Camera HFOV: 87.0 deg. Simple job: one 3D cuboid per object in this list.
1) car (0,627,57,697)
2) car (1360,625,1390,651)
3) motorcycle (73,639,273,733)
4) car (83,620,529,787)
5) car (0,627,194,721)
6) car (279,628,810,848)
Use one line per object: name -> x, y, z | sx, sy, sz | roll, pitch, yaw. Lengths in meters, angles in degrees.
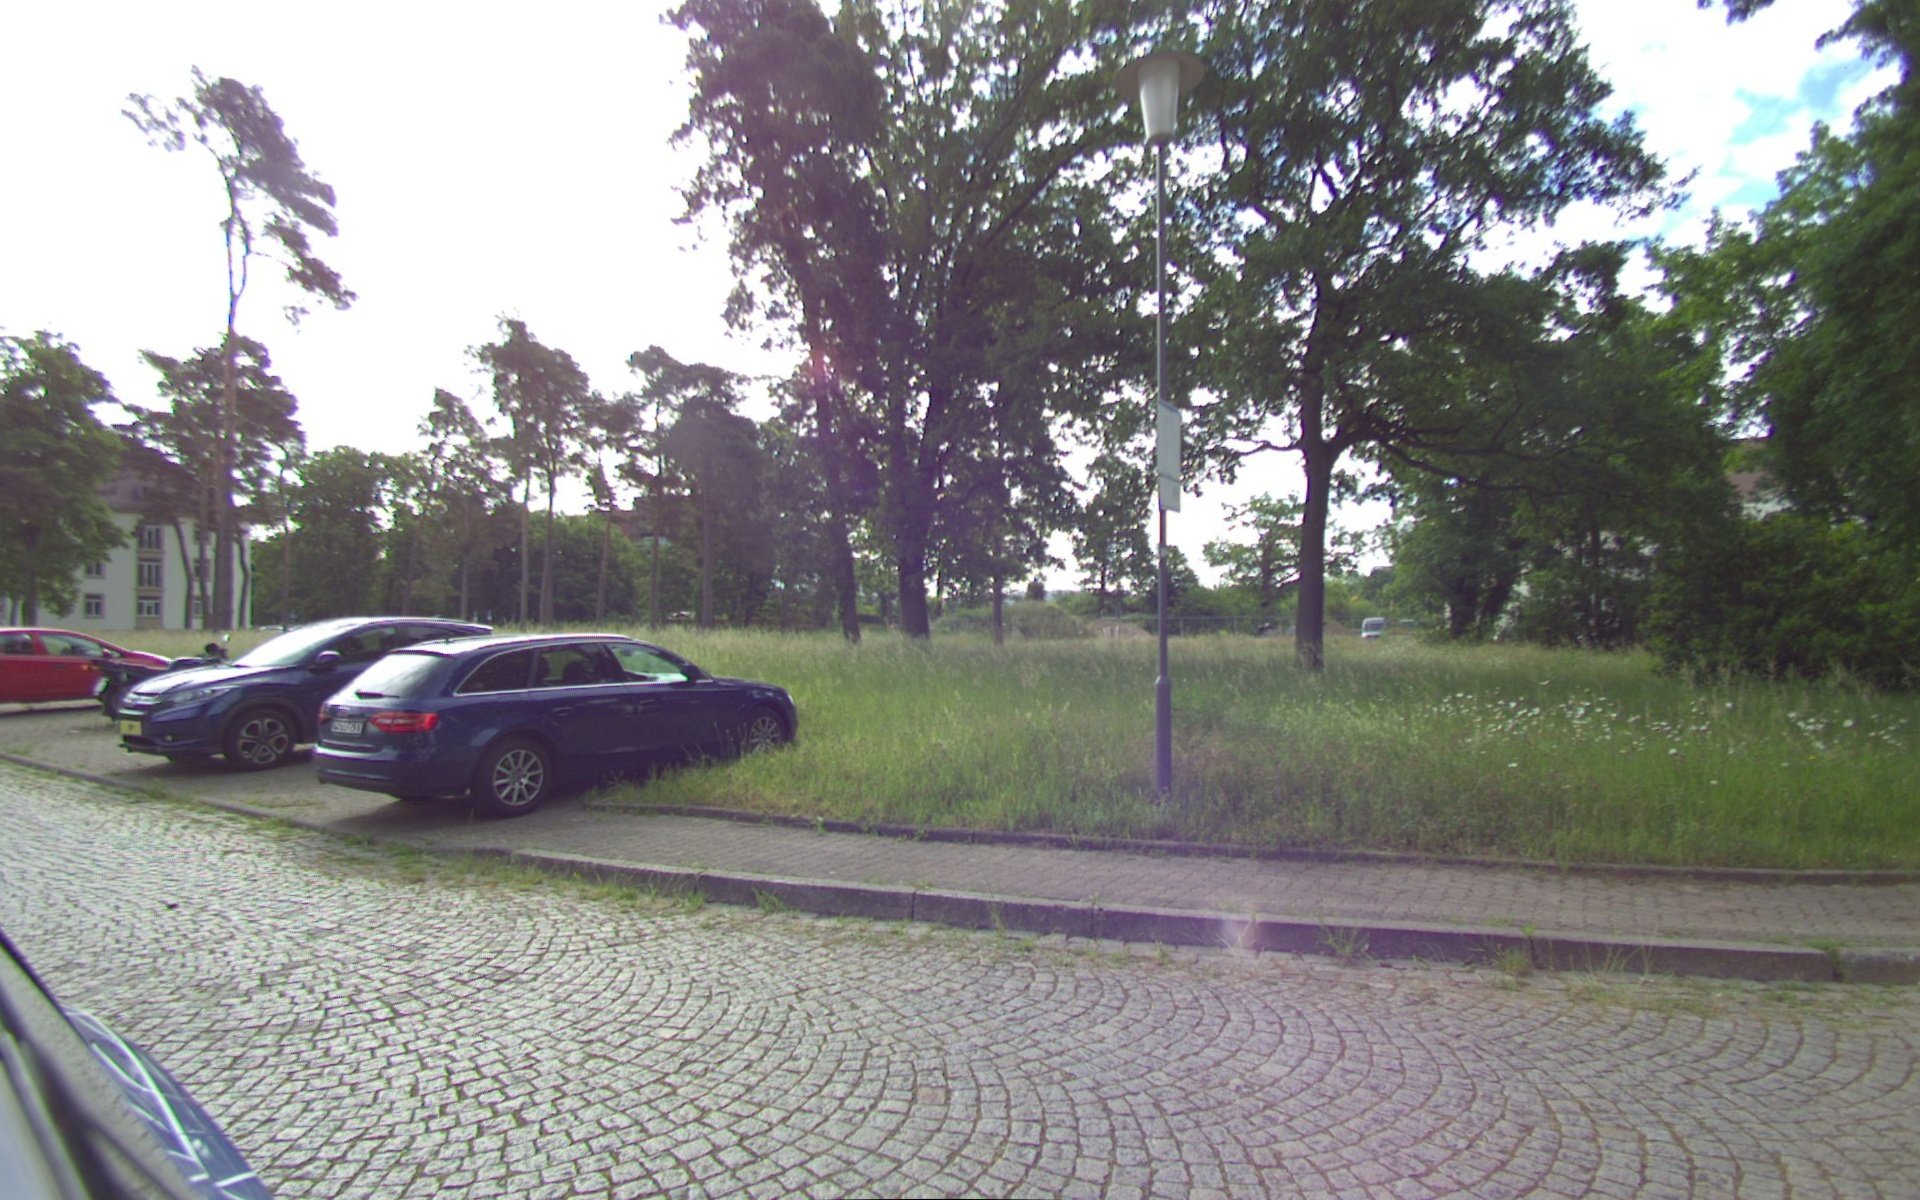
car -> -22.396, 1.376, 21.938 | 1.701, 1.532, 3.911 | -2, -2, 32
car -> 36.623, 3.312, 89.297 | 2.030, 2.029, 4.188 | 0, 1, 29
motorcycle -> -12.135, 1.279, 15.701 | 0.741, 1.298, 2.337 | -1, -2, 32
car -> -7.500, 1.050, 12.057 | 1.783, 1.585, 4.108 | 0, -1, 30
car -> -16.037, 1.256, 17.734 | 1.666, 1.490, 3.855 | -1, -1, 31
car -> -3.530, 1.039, 9.431 | 1.678, 1.491, 4.393 | -2, -1, 35
